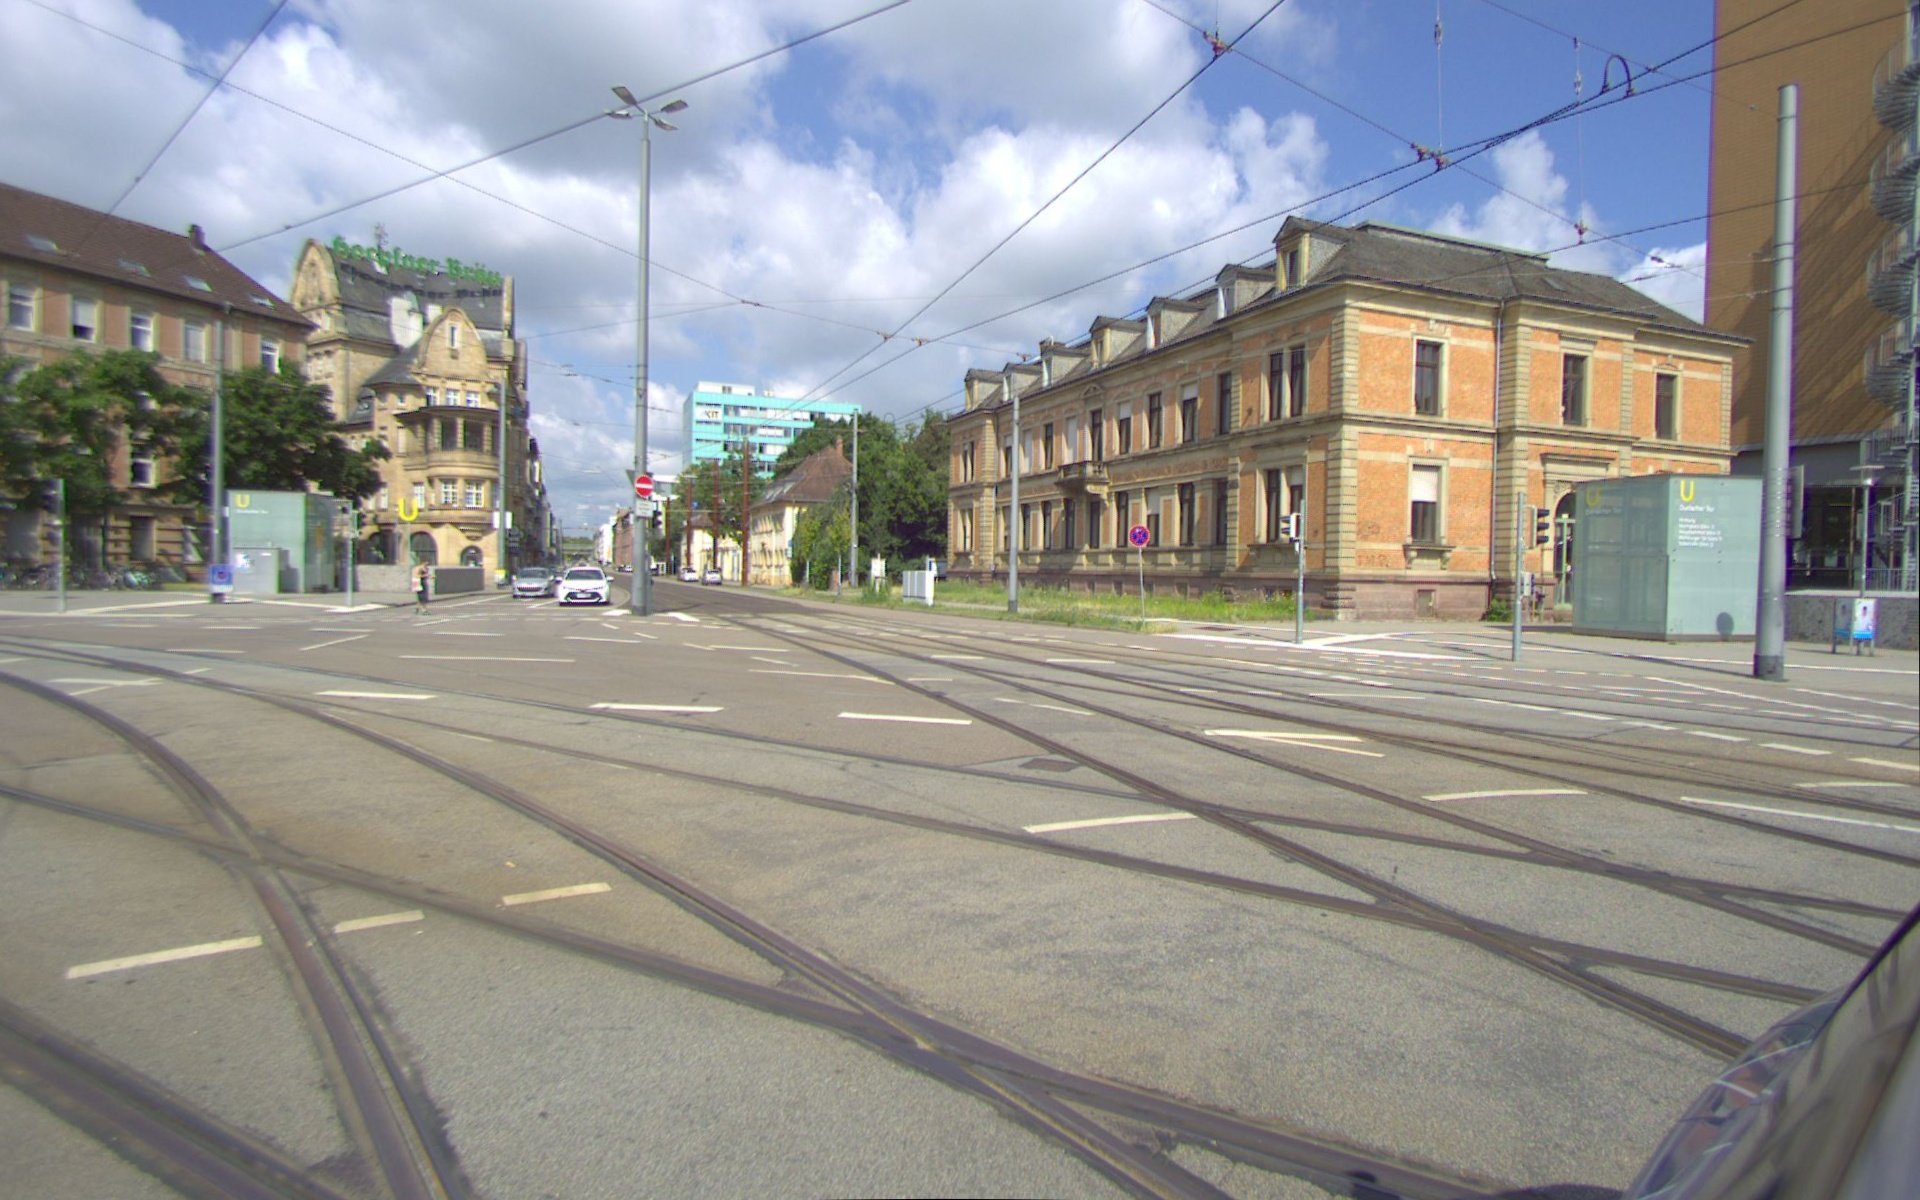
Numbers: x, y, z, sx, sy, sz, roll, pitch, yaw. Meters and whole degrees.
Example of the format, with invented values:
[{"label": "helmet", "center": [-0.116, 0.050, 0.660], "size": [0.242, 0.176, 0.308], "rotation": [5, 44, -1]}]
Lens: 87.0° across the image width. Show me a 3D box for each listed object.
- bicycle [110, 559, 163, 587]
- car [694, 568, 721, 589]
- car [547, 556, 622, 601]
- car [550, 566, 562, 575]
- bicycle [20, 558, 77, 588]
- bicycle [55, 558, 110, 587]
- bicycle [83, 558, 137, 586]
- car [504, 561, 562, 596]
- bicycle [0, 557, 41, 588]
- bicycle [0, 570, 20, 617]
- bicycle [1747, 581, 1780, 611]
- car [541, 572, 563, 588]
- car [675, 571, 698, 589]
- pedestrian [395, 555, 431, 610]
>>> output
[{"label": "bicycle", "center": [-36.424, -1.215, 44.754], "size": [2.656, 1.180, 0.755], "rotation": [2, 1, 25]}, {"label": "car", "center": [-25.810, -2.183, 103.329], "size": [1.959, 2.039, 4.006], "rotation": [1, 0, -25]}, {"label": "car", "center": [-14.159, -0.764, 38.402], "size": [1.916, 1.616, 4.514], "rotation": [0, 0, -11]}, {"label": "car", "center": [-71.499, -5.233, 179.057], "size": [1.831, 1.402, 4.007], "rotation": [0, 0, -23]}, {"label": "bicycle", "center": [-37.776, -1.135, 41.955], "size": [2.656, 1.180, 0.755], "rotation": [2, -1, 25]}, {"label": "bicycle", "center": [-37.308, -1.146, 43.010], "size": [2.657, 1.180, 0.754], "rotation": [0, -1, 26]}, {"label": "bicycle", "center": [-36.928, -1.233, 43.941], "size": [2.656, 1.180, 0.755], "rotation": [2, 1, 25]}, {"label": "car", "center": [-20.658, -1.007, 49.133], "size": [1.800, 1.616, 4.007], "rotation": [0, 0, -11]}, {"label": "bicycle", "center": [-38.314, -1.118, 40.896], "size": [2.656, 1.180, 0.755], "rotation": [2, 1, 25]}, {"label": "bicycle", "center": [-22.858, -0.147, 22.914], "size": [0.866, 1.084, 2.185], "rotation": [0, 0, 17]}, {"label": "bicycle", "center": [33.854, -0.163, 42.637], "size": [1.444, 1.263, 0.429], "rotation": [0, 1, -22]}, {"label": "car", "center": [-38.267, -1.827, 94.868], "size": [1.831, 1.402, 4.007], "rotation": [0, 0, -23]}, {"label": "car", "center": [-32.714, -2.320, 120.879], "size": [1.959, 2.039, 4.006], "rotation": [1, 0, -25]}, {"label": "pedestrian", "center": [-15.573, -0.508, 28.808], "size": [0.540, 1.535, 0.735], "rotation": [1, 1, 30]}]
